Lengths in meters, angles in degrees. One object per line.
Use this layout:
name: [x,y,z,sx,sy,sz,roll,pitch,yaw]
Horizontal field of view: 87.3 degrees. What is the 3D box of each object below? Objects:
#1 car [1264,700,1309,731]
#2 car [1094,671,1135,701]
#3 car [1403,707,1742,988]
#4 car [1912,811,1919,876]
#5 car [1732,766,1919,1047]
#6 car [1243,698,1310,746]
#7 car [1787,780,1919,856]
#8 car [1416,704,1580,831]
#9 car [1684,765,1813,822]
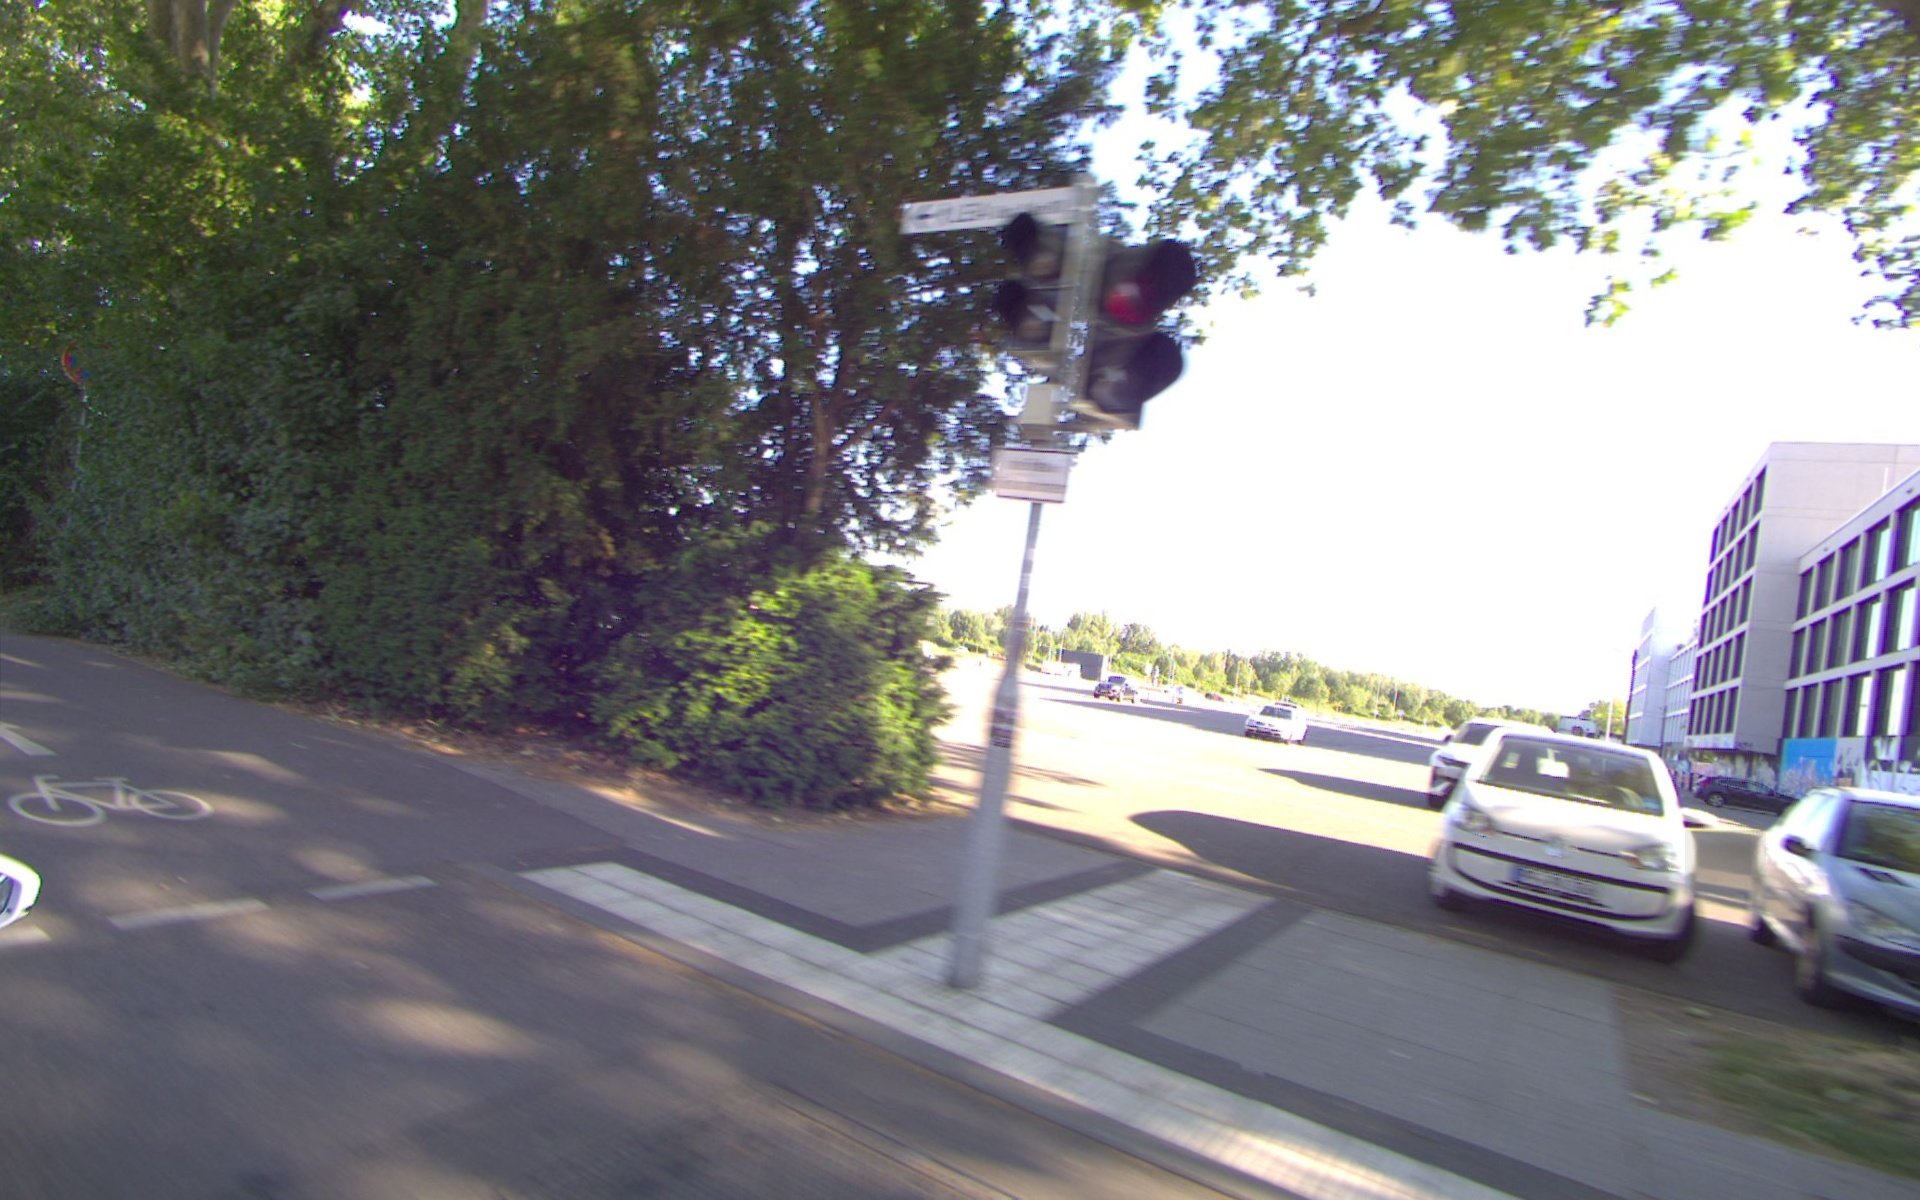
car: [19.636,6.961,60.421,1.697,1.541,4.263,7,-3,28]
car: [10.032,5.583,65.082,1.695,1.541,4.005,8,-3,21]
car: [5.205,1.897,8.652,1.857,1.521,3.895,7,-3,33]
car: [19.942,4.627,17.913,3.933,1.627,1.570,7,-3,31]
car: [6.809,2.088,7.107,1.651,1.478,3.603,7,-3,32]
car: [12.551,4.830,39.743,1.697,1.541,4.001,7,-3,28]
car: [27.042,6.479,29.454,3.931,1.572,1.924,7,-3,29]
car: [9.671,2.940,17.879,1.888,1.676,4.466,7,-3,35]
car: [35.698,8.729,45.691,4.295,1.629,1.857,7,-3,33]
